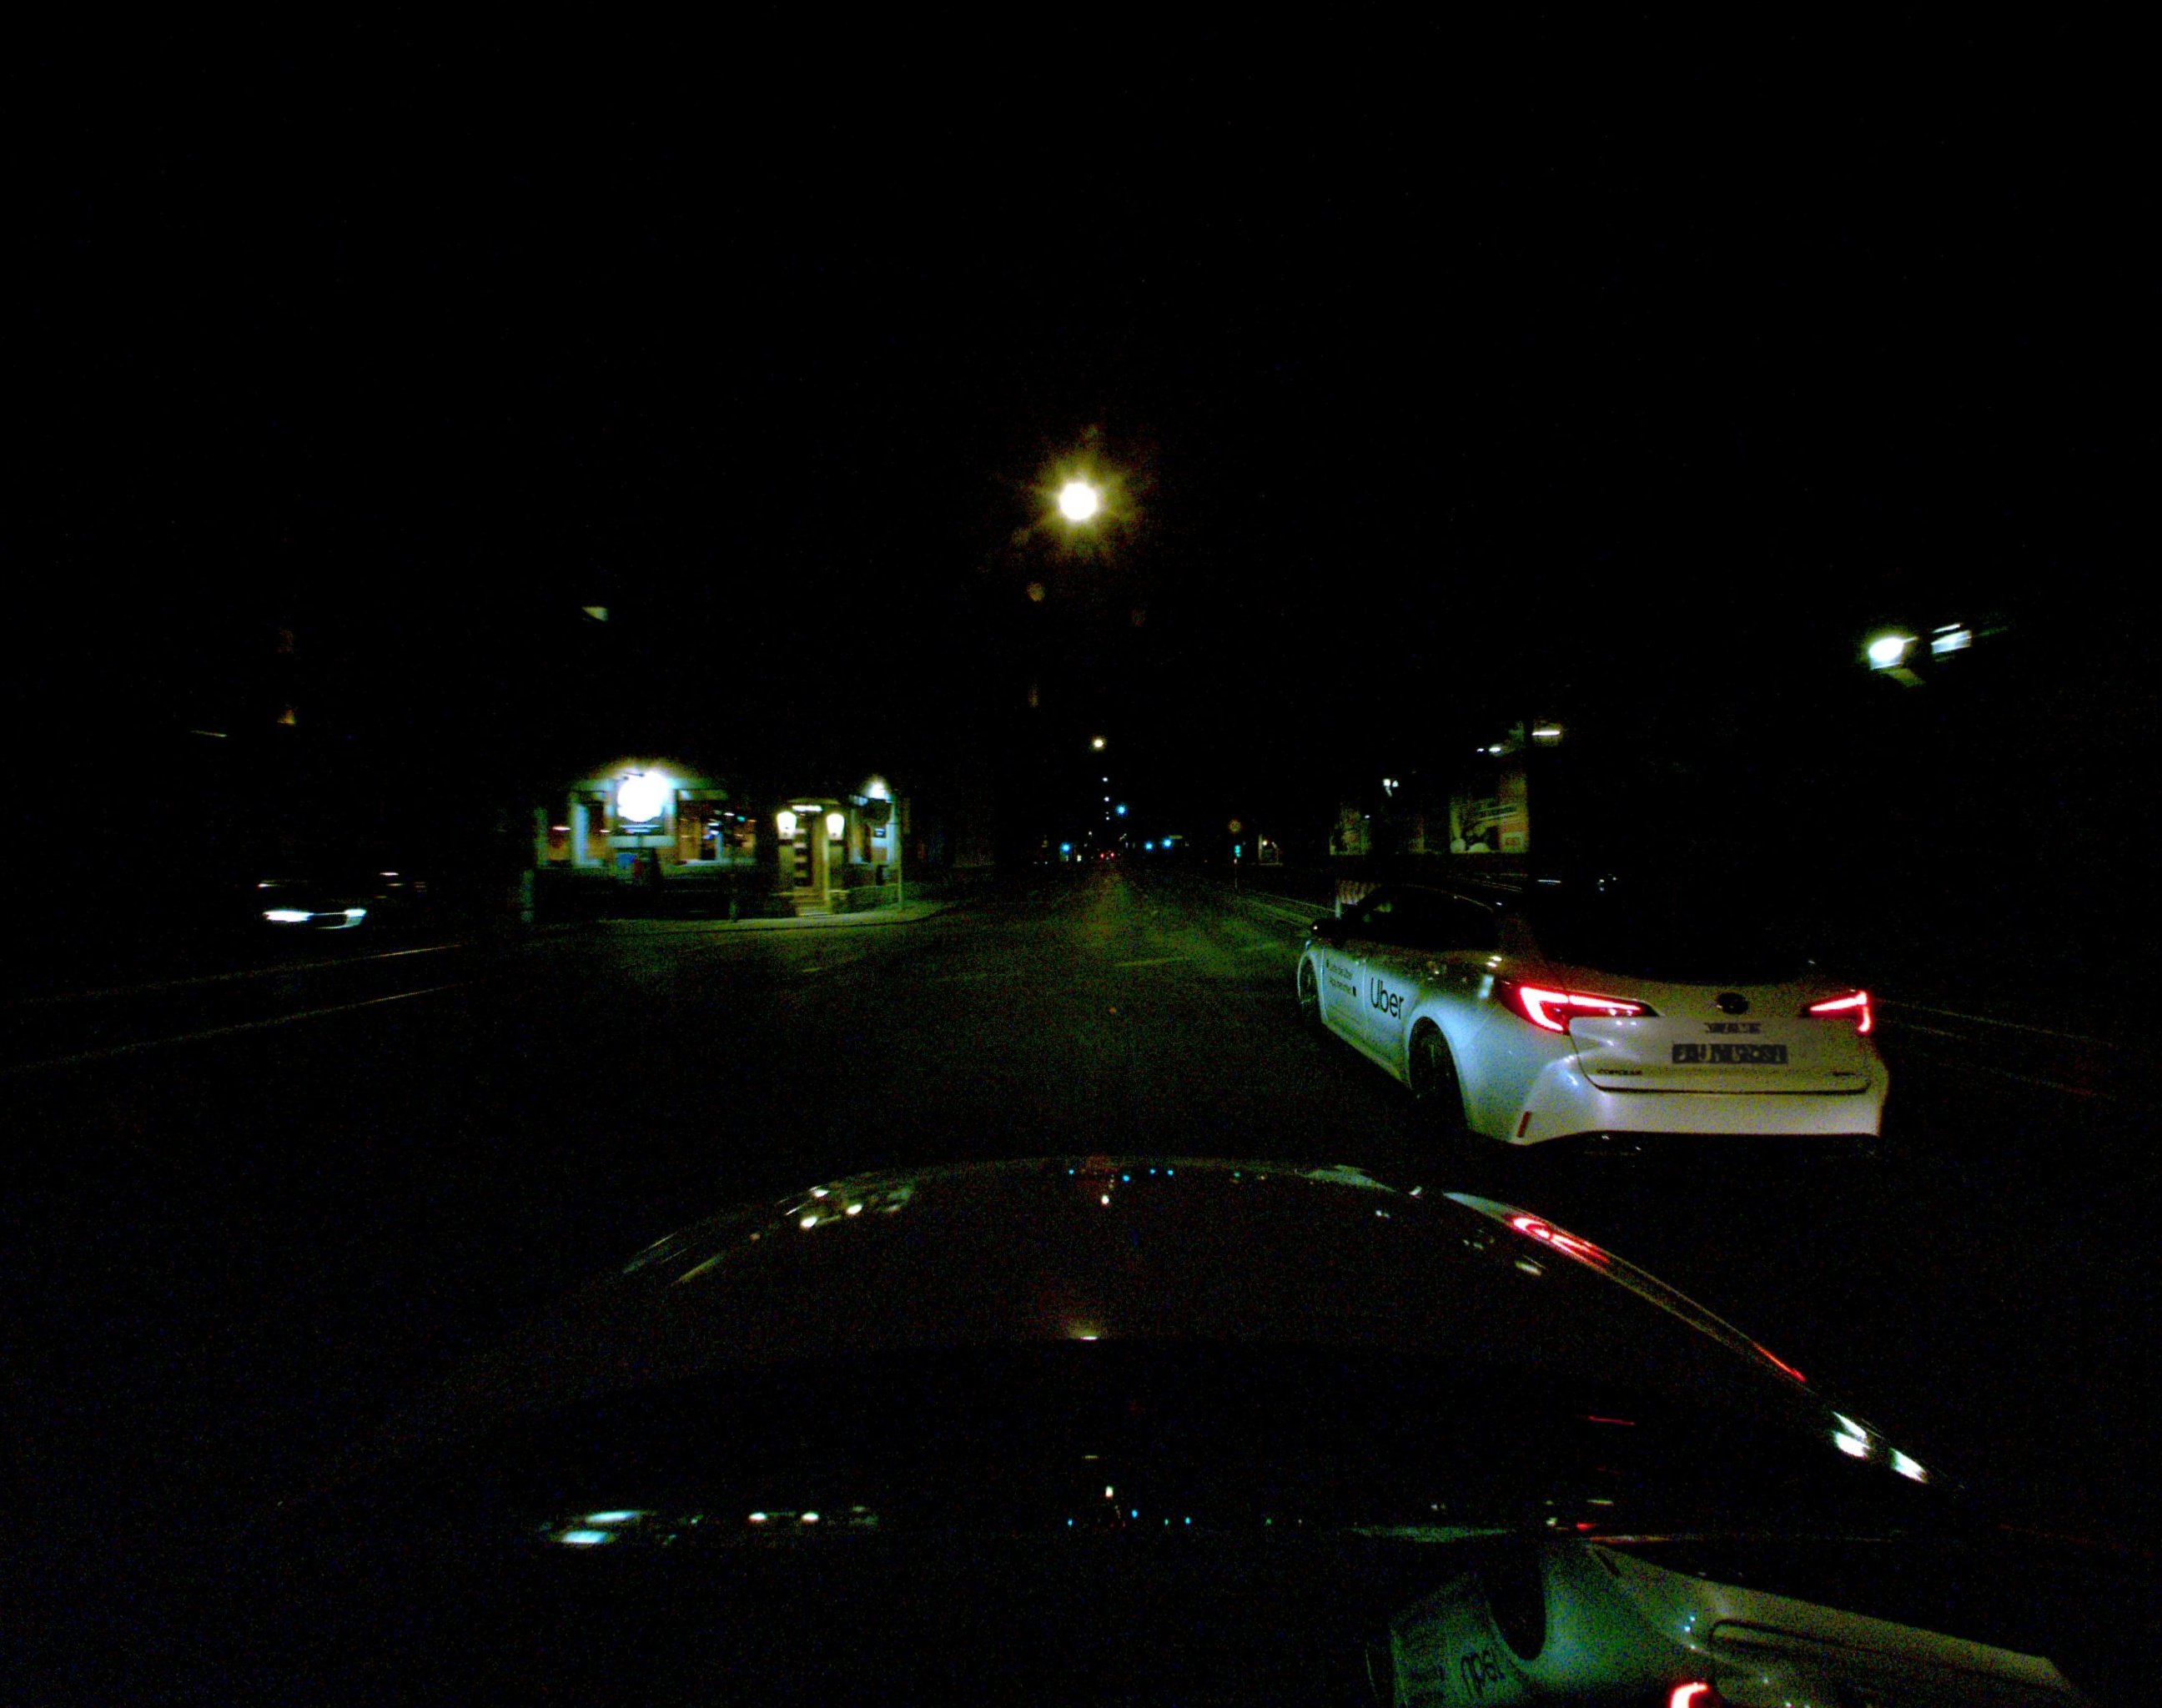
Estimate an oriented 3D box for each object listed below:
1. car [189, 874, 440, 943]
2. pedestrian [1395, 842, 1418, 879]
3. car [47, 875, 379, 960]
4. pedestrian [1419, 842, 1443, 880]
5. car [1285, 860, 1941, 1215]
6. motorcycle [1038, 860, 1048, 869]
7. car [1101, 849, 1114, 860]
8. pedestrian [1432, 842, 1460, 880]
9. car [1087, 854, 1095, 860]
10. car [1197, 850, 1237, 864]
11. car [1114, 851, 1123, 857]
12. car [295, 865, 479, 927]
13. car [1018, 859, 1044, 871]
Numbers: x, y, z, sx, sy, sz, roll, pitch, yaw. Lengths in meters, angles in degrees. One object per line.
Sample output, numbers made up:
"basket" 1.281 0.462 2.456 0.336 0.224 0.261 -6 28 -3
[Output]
"car" -18.093 1.252 19.365 4.260 1.402 1.802 -2 0 1
"pedestrian" 15.619 0.310 39.067 0.711 1.769 0.907 -2 0 1
"car" -17.307 1.233 16.419 4.609 1.418 1.917 -2 0 1
"pedestrian" 16.620 0.324 38.708 0.736 1.769 0.907 -2 0 1
"car" 2.736 0.775 5.483 1.723 1.435 4.211 1 0 1
"motorcycle" -4.936 1.343 105.579 0.783 1.204 2.435 -2 0 -17
"car" 4.204 0.046 129.977 1.987 1.640 4.000 -1 0 0
"pedestrian" 17.614 0.341 39.294 0.897 1.769 0.907 -2 0 1
"car" 2.425 0.623 199.124 1.772 1.390 3.999 -2 0 0
"car" 14.364 0.341 86.232 3.969 1.386 1.773 -2 0 4
"car" 9.783 -0.009 213.567 1.987 1.596 3.999 -2 0 -1
"car" -19.477 1.166 22.984 3.599 1.594 1.700 -1 -2 -5
"car" -6.657 1.475 108.399 1.815 1.486 3.961 -2 0 -30
